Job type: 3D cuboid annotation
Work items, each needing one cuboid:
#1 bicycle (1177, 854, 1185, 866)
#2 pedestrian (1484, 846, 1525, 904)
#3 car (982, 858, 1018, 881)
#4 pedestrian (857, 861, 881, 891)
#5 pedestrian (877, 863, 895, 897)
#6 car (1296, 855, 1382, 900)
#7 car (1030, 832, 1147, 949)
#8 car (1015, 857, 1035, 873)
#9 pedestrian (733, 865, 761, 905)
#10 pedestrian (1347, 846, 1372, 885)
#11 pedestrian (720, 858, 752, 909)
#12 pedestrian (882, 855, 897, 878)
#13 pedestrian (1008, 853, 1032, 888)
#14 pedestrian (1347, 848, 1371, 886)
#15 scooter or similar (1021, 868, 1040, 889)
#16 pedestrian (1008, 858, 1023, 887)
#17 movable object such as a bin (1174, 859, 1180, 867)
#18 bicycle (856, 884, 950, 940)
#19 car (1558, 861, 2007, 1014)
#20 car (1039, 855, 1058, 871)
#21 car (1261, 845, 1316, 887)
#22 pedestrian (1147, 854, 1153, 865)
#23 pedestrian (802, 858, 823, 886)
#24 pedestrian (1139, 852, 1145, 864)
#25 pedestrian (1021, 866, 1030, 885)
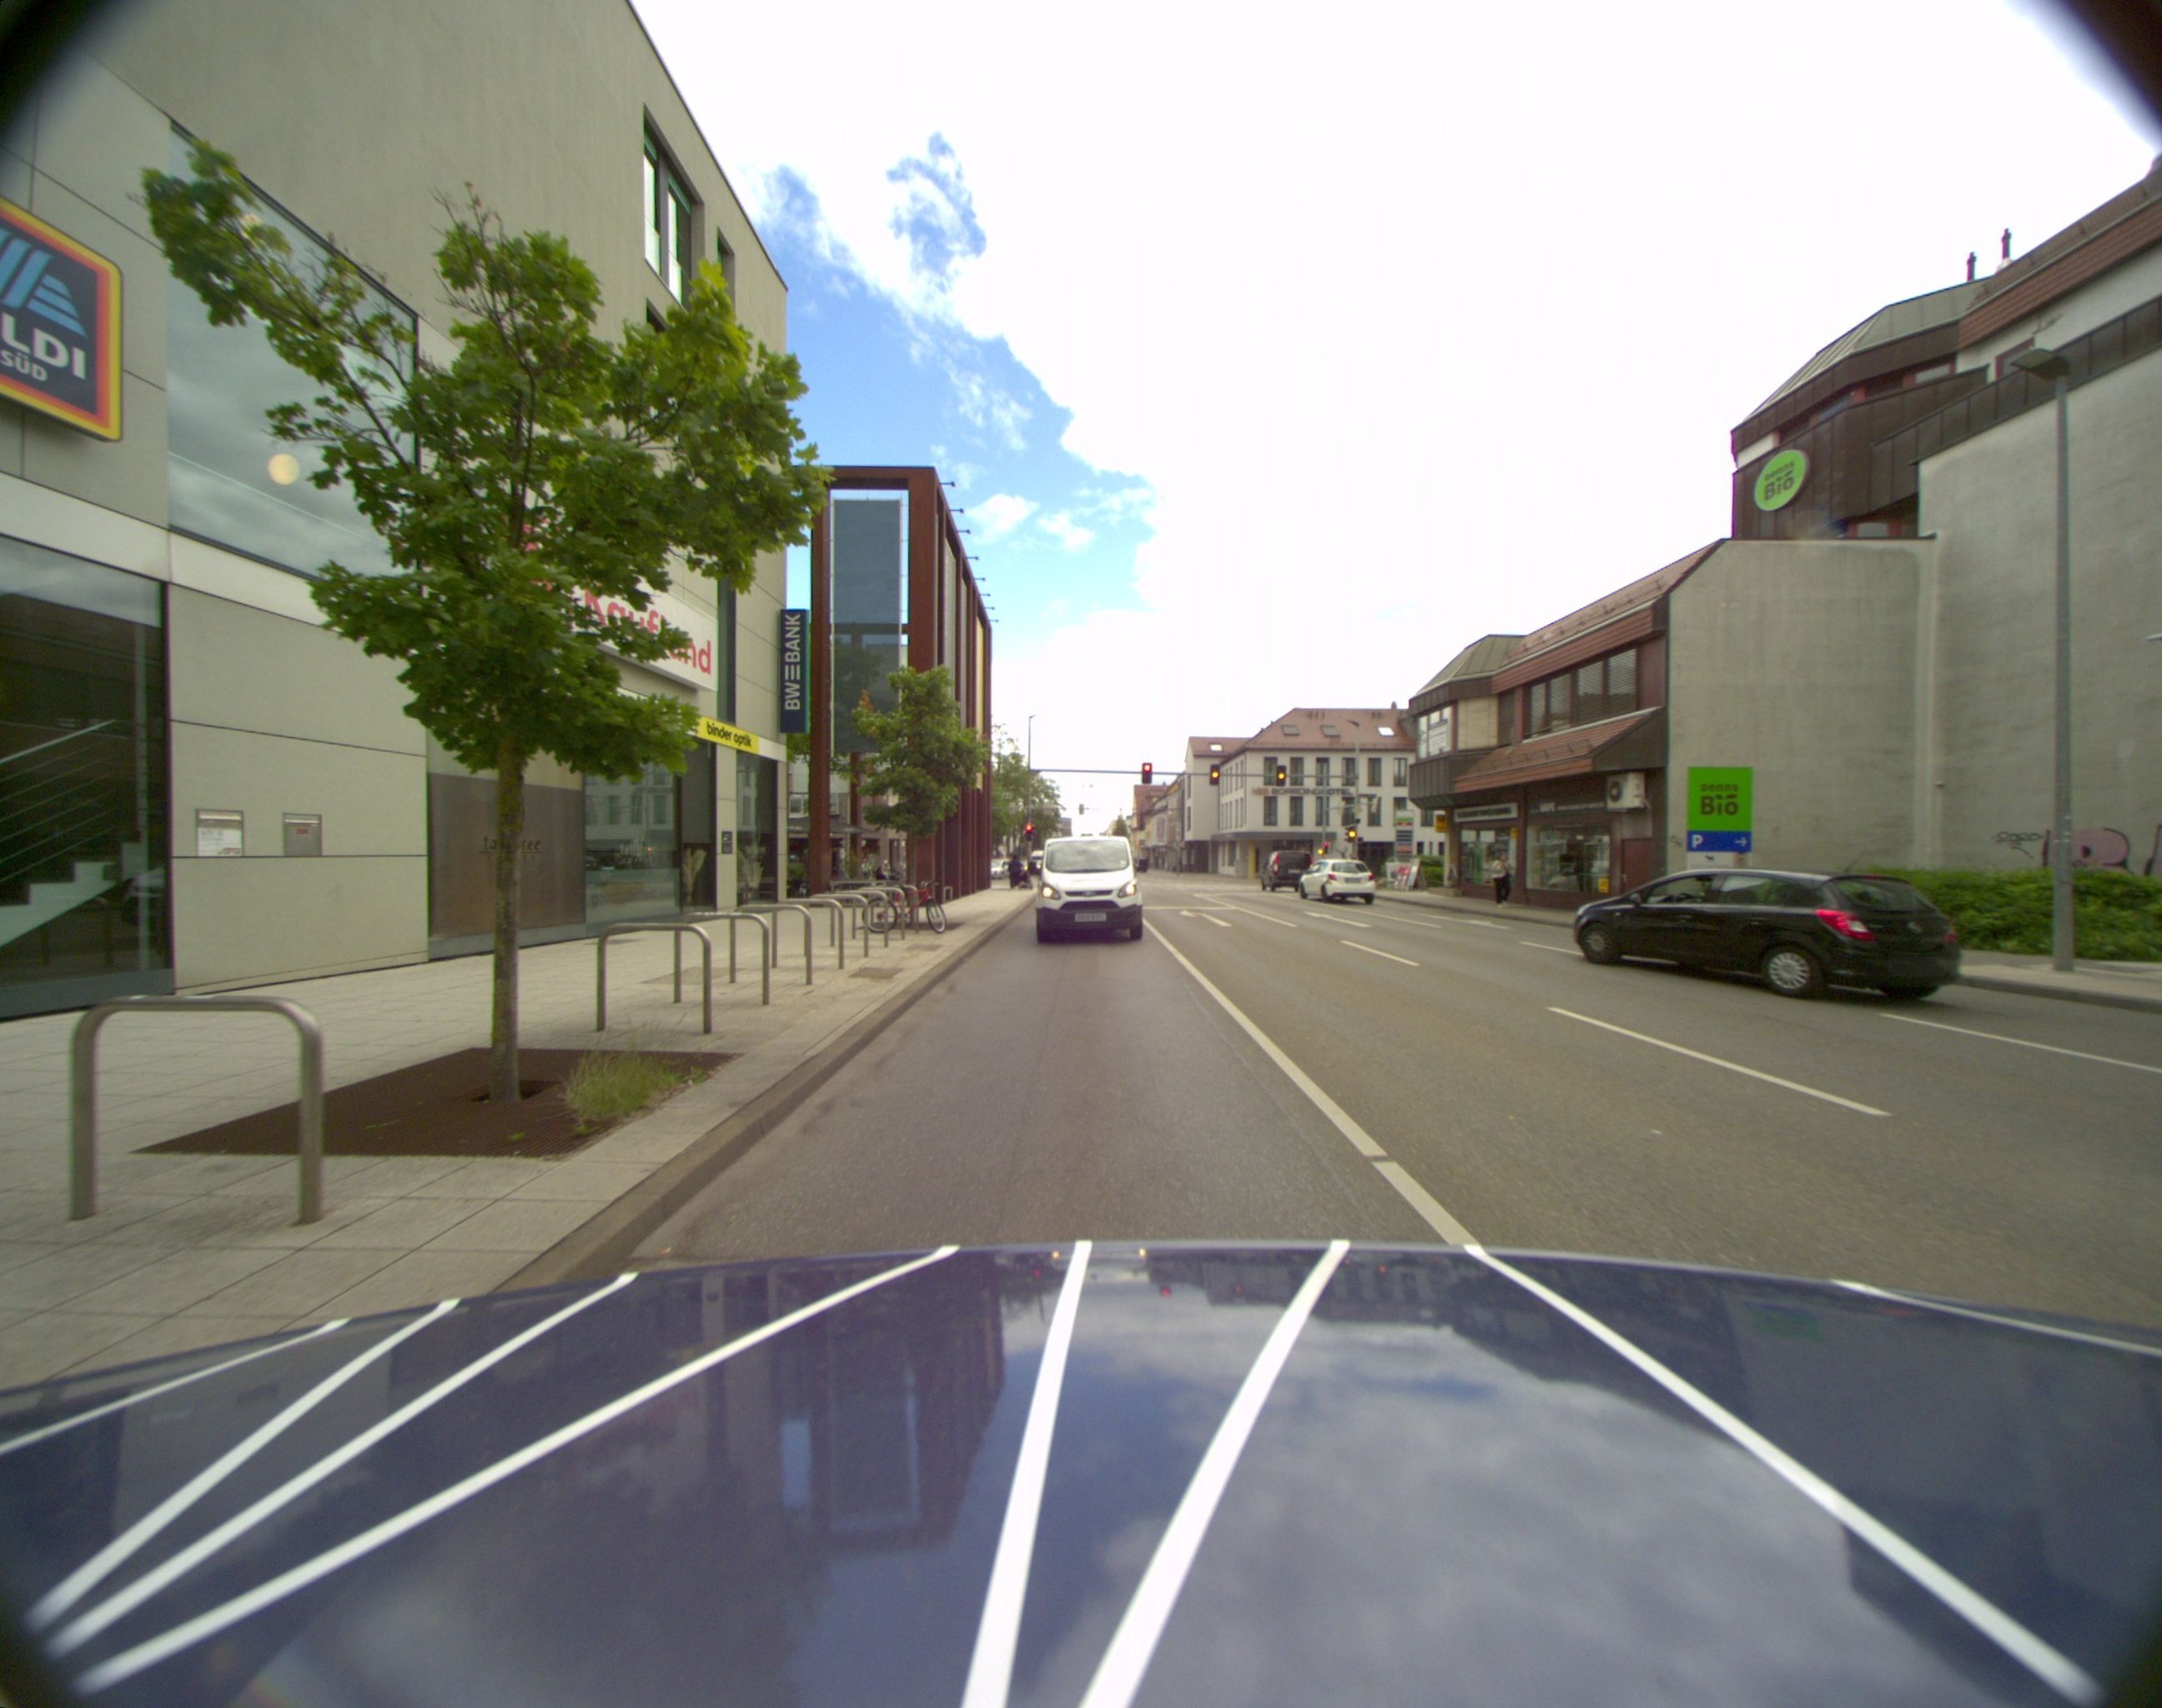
[{"bbox_3d":[10.592,0.664,80.668,0.583,1.225,2.119,-1,0,-1],"label":"bicycle"},{"bbox_3d":[12.608,0.612,22.631,0.751,1.683,0.777,0,1,-4],"label":"pedestrian"},{"bbox_3d":[-6.617,1.253,62.598,1.742,1.691,4.384,-2,0,11],"label":"car"},{"bbox_3d":[-12.406,1.274,44.530,1.058,1.705,1.110,-1,1,-1],"label":"pedestrian"},{"bbox_3d":[-7.142,0.934,27.859,0.448,1.213,0.607,-1,1,4],"label":"pedestrian"},{"bbox_3d":[9.107,0.777,27.160,1.664,1.457,3.999,0,0,-1],"label":"car"},{"bbox_3d":[0.142,0.626,16.081,1.940,1.968,5.779,-2,0,0],"label":"car"},{"bbox_3d":[-5.418,1.010,74.258,1.630,1.440,3.642,-2,0,0],"label":"car"},{"bbox_3d":[-10.310,0.946,23.446,0.516,1.201,0.795,-1,0,-2],"label":"pedestrian"},{"bbox_3d":[13.147,0.525,35.855,0.812,1.797,0.774,-1,1,-8],"label":"pedestrian"},{"bbox_3d":[-10.181,0.863,22.455,0.647,1.460,0.606,-1,1,1],"label":"pedestrian"},{"bbox_3d":[-13.423,0.867,53.343,0.810,1.617,1.093,0,1,0],"label":"pedestrian"},{"bbox_3d":[-2.877,0.778,35.779,0.870,1.637,0.681,0,0,34],"label":"pedestrian"},{"bbox_3d":[13.424,0.634,36.709,0.812,1.797,0.745,-1,1,-8],"label":"pedestrian"},{"bbox_3d":[-2.410,1.166,36.296,0.633,0.956,0.622,0,1,34],"label":"scooter or similar"},{"bbox_3d":[-3.181,0.897,36.986,0.602,1.412,0.582,-1,0,2],"label":"pedestrian"},{"bbox_3d":[10.504,1.010,83.280,0.552,0.894,0.507,-1,1,-1],"label":"movable object such as a bin"},{"bbox_3d":[-3.330,1.086,14.299,1.564,0.986,0.752,0,1,4],"label":"bicycle"},{"bbox_3d":[8.393,0.852,9.676,1.666,1.471,3.996,0,0,-10],"label":"car"},{"bbox_3d":[-3.265,0.890,77.071,1.630,1.440,3.642,-2,0,0],"label":"car"},{"bbox_3d":[10.040,0.540,37.071,1.869,1.898,5.116,1,0,7],"label":"car"},{"bbox_3d":[9.446,0.741,104.185,0.812,1.574,0.920,-1,1,1],"label":"pedestrian"},{"bbox_3d":[-15.560,1.019,44.079,0.832,1.575,1.059,-1,1,1],"label":"pedestrian"},{"bbox_3d":[8.417,0.529,104.501,0.812,1.651,0.920,-1,1,1],"label":"pedestrian"},{"bbox_3d":[-2.693,1.047,36.963,0.362,0.918,0.454,-1,0,2],"label":"pedestrian"}]
